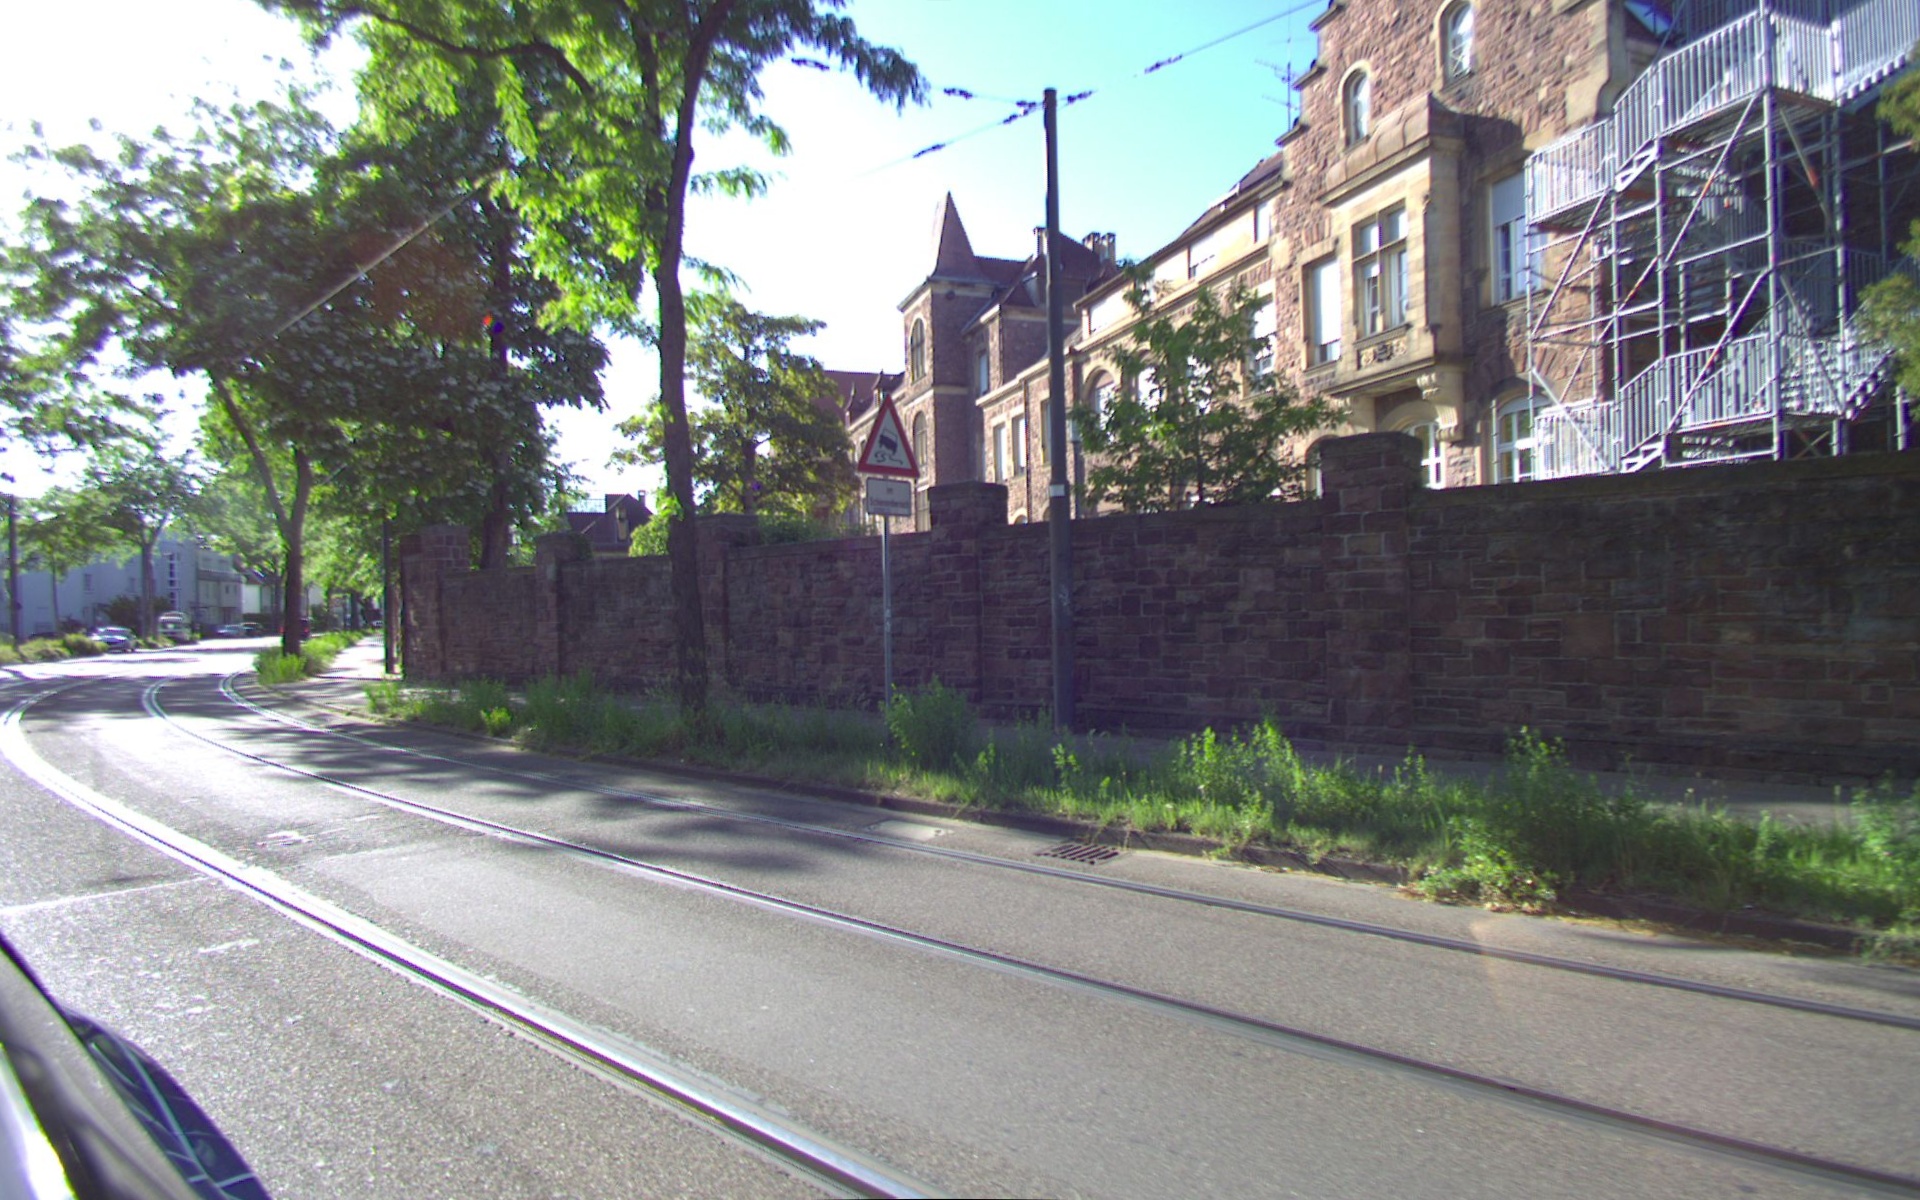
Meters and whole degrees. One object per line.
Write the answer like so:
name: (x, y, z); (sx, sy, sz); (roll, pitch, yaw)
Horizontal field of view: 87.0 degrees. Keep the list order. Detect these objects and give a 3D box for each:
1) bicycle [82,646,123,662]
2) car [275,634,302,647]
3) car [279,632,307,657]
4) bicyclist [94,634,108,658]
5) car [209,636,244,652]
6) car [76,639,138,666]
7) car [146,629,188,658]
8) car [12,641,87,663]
bicycle: (-73.041, 4.581, 86.257); (2.624, 1.241, 0.800); (-1, -1, -43)
car: (-84.000, 5.038, 126.646); (1.849, 1.530, 4.664); (-2, -1, -22)
car: (-51.176, 3.390, 77.694); (1.610, 1.806, 4.350); (-1, -1, -31)
bicyclist: (-73.193, 3.936, 86.231); (0.837, 2.029, 0.827); (-1, -1, -40)
car: (-75.928, 4.517, 104.815); (1.714, 1.507, 4.544); (-2, -1, -20)
car: (-52.115, 3.175, 61.945); (1.973, 1.476, 5.449); (3, -3, -31)
car: (-61.072, 3.336, 78.000); (1.966, 2.111, 4.730); (-1, -1, -31)
car: (-73.853, 4.207, 82.145); (2.009, 1.501, 4.400); (2, 2, 42)
